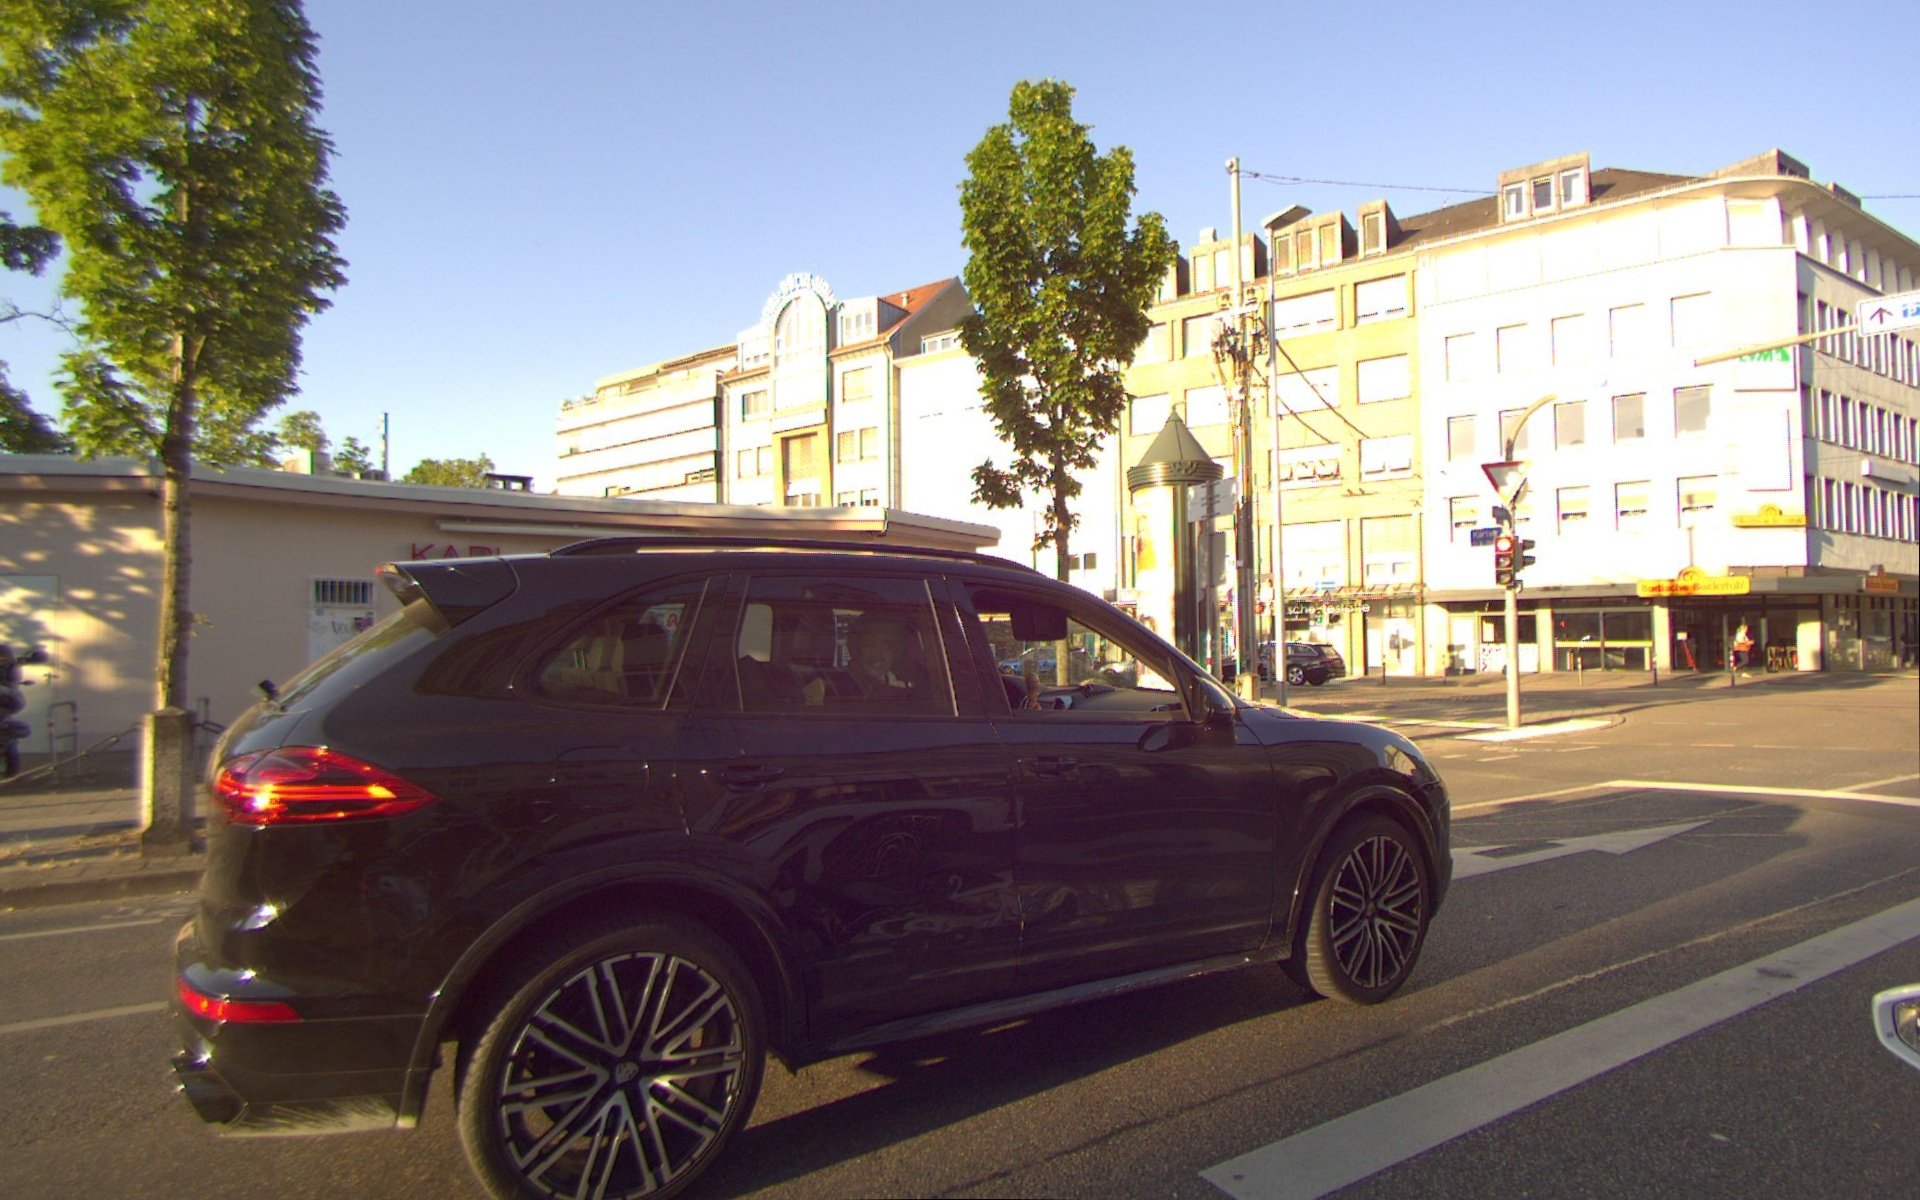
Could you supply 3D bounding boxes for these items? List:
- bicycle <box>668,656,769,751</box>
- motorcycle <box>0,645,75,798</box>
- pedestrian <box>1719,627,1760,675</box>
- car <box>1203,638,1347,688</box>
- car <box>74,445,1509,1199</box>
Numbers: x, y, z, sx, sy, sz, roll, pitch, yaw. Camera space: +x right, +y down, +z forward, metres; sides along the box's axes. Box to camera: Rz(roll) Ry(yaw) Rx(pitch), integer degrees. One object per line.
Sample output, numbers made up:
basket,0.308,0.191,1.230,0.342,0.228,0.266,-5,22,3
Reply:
bicycle,-3.567,1.457,14.678,0.938,1.273,1.997,1,-3,-29
motorcycle,-9.980,1.195,10.257,0.857,1.448,2.570,1,-3,-29
pedestrian,25.504,1.669,32.872,0.933,1.557,0.906,-2,-3,33
car,10.763,2.123,34.519,1.866,1.616,4.392,1,-3,-44
car,-0.169,0.647,3.848,4.508,1.736,1.940,1,-3,-31
